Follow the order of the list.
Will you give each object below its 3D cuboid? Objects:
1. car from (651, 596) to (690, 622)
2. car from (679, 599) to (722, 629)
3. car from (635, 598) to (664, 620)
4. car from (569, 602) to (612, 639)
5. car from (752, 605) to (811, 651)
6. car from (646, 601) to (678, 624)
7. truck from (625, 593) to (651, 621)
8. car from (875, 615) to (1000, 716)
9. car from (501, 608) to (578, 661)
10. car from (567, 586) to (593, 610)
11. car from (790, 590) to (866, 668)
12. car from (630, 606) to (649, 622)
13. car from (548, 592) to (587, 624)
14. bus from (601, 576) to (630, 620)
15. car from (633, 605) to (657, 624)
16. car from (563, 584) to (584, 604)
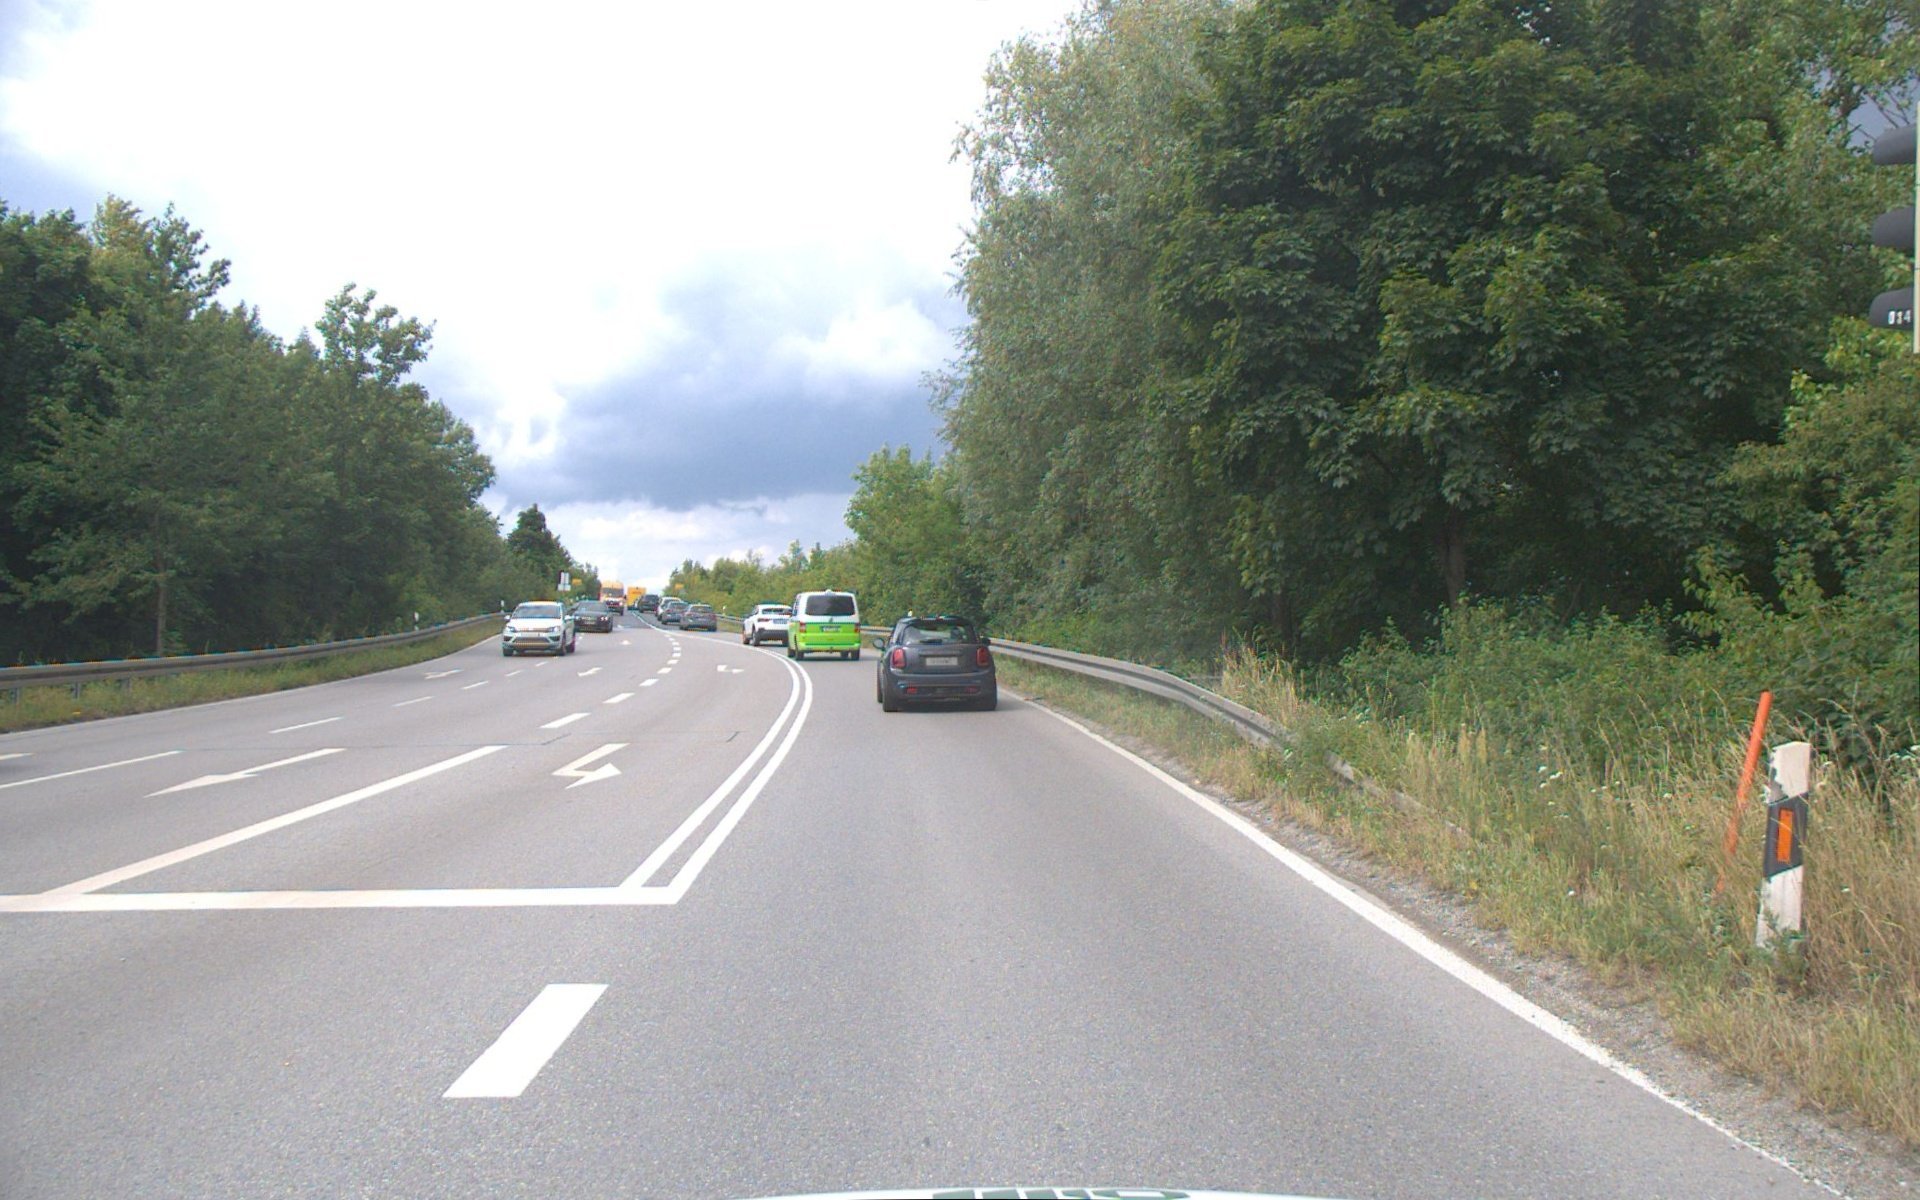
[{"bbox_3d":[-18.541,0.578,105.803,1.961,1.502,4.466,2,-2,-15],"label":"car"},{"bbox_3d":[-14.392,0.788,91.565,1.959,1.502,4.470,2,-2,-13],"label":"car"},{"bbox_3d":[-25.731,0.739,137.075,1.961,1.725,4.466,2,-1,-16],"label":"car"},{"bbox_3d":[-17.970,0.967,80.560,1.958,1.720,3.989,0,0,-11],"label":"car"},{"bbox_3d":[-6.953,1.091,64.187,1.958,1.713,3.989,1,-1,-11],"label":"car"},{"bbox_3d":[-21.519,0.911,119.372,1.959,1.502,4.469,2,-2,-13],"label":"car"},{"bbox_3d":[-41.107,0.939,211.290,2.666,2.949,8.751,3,-4,-9],"label":"truck"},{"bbox_3d":[-0.384,0.974,25.927,1.808,1.453,3.839,0,-1,-2],"label":"car"},{"bbox_3d":[-13.651,1.101,53.889,1.956,1.641,3.992,1,-1,-8],"label":"car"},{"bbox_3d":[-34.830,-0.160,151.549,1.957,2.049,3.991,3,-1,-10],"label":"car"},{"bbox_3d":[-3.920,0.809,48.594,1.812,2.021,3.832,1,2,-11],"label":"car"},{"bbox_3d":[-38.145,1.642,196.916,1.960,1.818,4.467,1,-1,-15],"label":"car"},{"bbox_3d":[-22.294,0.472,93.963,1.958,1.720,3.989,1,-1,-11],"label":"car"},{"bbox_3d":[-28.010,-0.138,134.178,1.960,3.360,7.401,1,-1,-14],"label":"bus"},{"bbox_3d":[-30.415,1.388,159.505,1.960,1.725,4.469,2,-2,-14],"label":"car"},{"bbox_3d":[-40.674,-0.621,174.033,1.957,2.049,3.990,1,-1,-10],"label":"car"}]
